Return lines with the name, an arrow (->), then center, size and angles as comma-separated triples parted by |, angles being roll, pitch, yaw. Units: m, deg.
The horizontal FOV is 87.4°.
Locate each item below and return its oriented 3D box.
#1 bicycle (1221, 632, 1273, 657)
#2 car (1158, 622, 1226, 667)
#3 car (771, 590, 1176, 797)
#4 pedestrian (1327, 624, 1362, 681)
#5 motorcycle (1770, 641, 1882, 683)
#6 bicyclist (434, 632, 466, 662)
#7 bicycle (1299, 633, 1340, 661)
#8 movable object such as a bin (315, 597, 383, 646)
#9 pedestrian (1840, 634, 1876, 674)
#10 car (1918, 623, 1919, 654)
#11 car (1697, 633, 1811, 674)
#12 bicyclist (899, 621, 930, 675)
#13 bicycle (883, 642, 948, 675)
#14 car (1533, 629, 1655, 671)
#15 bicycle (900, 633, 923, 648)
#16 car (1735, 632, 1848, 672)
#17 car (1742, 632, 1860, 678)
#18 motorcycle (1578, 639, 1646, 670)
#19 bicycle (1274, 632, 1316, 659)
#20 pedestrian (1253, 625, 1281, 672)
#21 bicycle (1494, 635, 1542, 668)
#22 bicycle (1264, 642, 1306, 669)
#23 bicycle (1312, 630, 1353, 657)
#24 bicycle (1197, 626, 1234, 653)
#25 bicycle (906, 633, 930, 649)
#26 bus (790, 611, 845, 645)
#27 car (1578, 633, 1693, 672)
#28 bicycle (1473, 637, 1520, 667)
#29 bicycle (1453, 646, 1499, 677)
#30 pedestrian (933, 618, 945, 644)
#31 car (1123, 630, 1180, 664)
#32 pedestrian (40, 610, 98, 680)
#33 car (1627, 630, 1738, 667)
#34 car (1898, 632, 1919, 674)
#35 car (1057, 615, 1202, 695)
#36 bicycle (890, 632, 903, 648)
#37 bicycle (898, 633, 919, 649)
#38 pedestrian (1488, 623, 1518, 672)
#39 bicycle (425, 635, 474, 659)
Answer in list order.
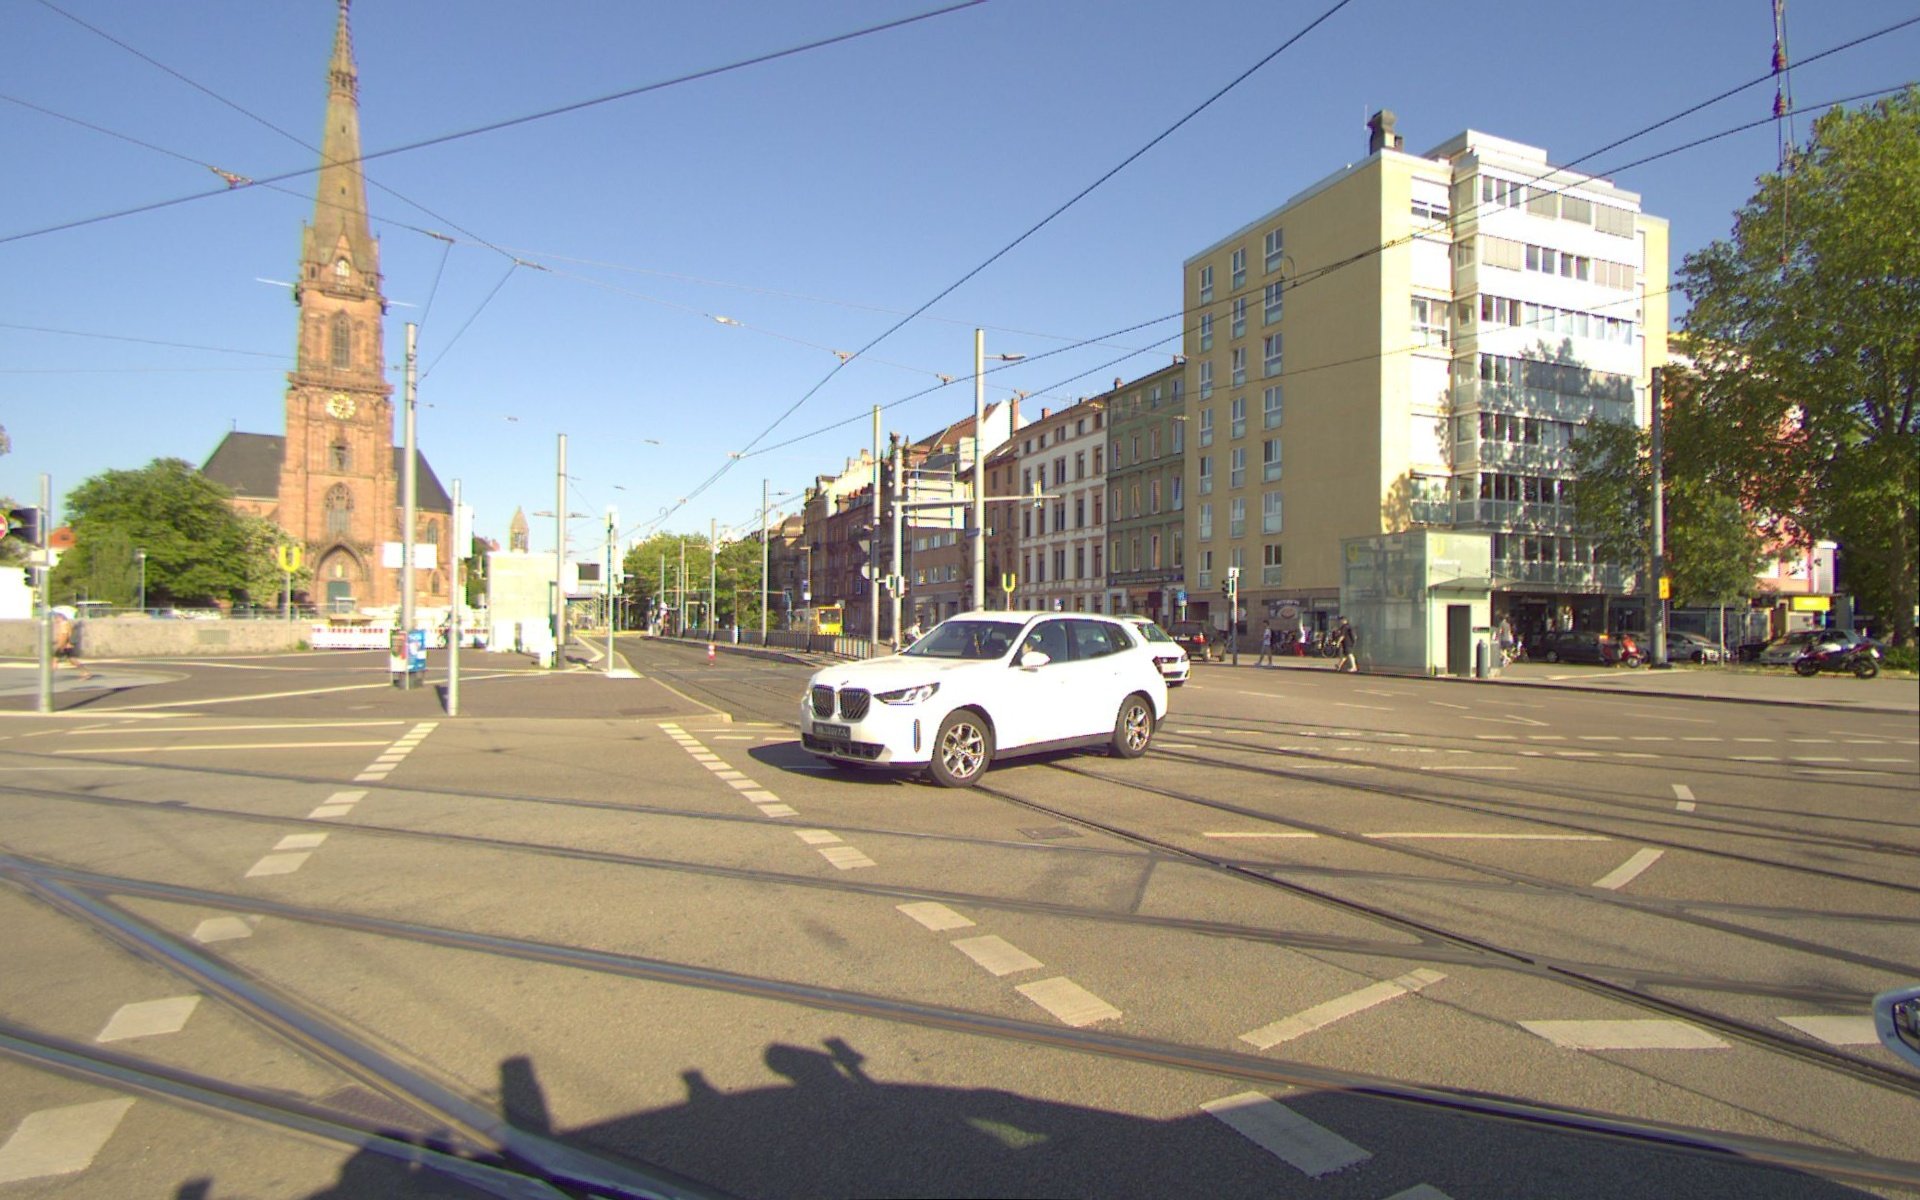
bicycle -> 15.007, 2.312, 52.649 | 0.974, 1.280, 3.045 | 1, -2, -23
car -> 10.246, 1.949, 44.128 | 1.924, 1.838, 4.247 | 1, -2, 27
car -> 0.367, 0.883, 10.987 | 1.914, 1.769, 4.599 | -2, -3, 41
pedestrian -> 12.077, 1.647, 31.554 | 0.856, 1.750, 0.792 | 0, -2, 36
motorcycle -> 24.725, 1.747, 28.705 | 1.031, 1.088, 2.258 | 0, -1, -37
bicyclist -> -24.163, 2.238, 47.605 | 0.799, 1.362, 0.902 | 3, -3, 20
bicycle -> 17.018, 2.207, 47.572 | 0.651, 1.265, 1.889 | 0, -1, -25
movable object such as a bin -> -35.204, 1.157, 57.795 | 2.613, 2.560, 5.110 | -1, 2, -40
pedestrian -> 41.400, 2.491, 46.320 | 0.890, 1.761, 0.883 | 0, 2, -19
car -> 57.122, 2.274, 56.734 | 1.829, 1.804, 3.980 | 0, 1, -21
car -> 38.627, 2.561, 48.979 | 1.829, 1.657, 3.980 | 0, 1, -21
bicyclist -> -1.404, 1.478, 31.036 | 0.667, 1.637, 0.810 | 0, -1, -27
bicycle -> -1.373, 1.790, 31.038 | 1.871, 0.954, 0.810 | 0, -1, -27
car -> 27.724, 2.136, 44.069 | 1.831, 1.503, 4.201 | 0, 1, -25
bicycle -> -3.817, 3.196, 79.267 | 1.745, 1.203, 0.467 | 2, -1, -23
car -> 41.566, 2.563, 50.301 | 1.829, 1.657, 3.980 | 0, 1, -21
car -> 33.334, 2.170, 39.815 | 3.942, 1.720, 1.912 | 0, -3, -22
motorcycle -> 22.665, 1.891, 34.964 | 0.869, 1.060, 1.794 | 0, -2, -24
bicycle -> 16.807, 2.268, 50.433 | 0.650, 1.265, 2.285 | 0, -1, -24
pedestrian -> 11.398, 1.791, 37.336 | 0.692, 1.750, 0.745 | 1, -2, -38
bicycle -> 23.561, 2.164, 42.410 | 1.973, 1.363, 0.810 | 0, -1, -28
bicycle -> 16.171, 2.747, 50.061 | 0.650, 1.265, 2.286 | 0, -1, -23
bicycle -> 17.736, 2.049, 47.887 | 0.651, 1.265, 1.889 | 0, -1, -25
bicycle -> 14.060, 2.166, 55.371 | 0.918, 1.375, 2.219 | 0, 1, -18
bicycle -> -3.269, 3.159, 77.924 | 1.745, 1.194, 0.467 | 2, -1, -23
bus -> -14.855, 2.871, 103.804 | 2.684, 3.223, 12.477 | 0, -1, -22
car -> 30.252, 2.300, 45.113 | 1.829, 1.439, 3.980 | 0, 1, -21
bicycle -> 23.103, 2.215, 43.274 | 1.973, 1.216, 0.810 | 0, -1, -28
bicycle -> 22.679, 2.695, 44.171 | 1.973, 1.265, 0.810 | 0, -1, -28
pedestrian -> -1.678, 2.511, 80.843 | 0.742, 2.041, 0.694 | 0, 2, -22
car -> 8.974, 2.216, 46.749 | 1.754, 1.417, 3.892 | 1, -3, 24
pedestrian -> -22.878, 1.138, 25.813 | 1.047, 1.709, 0.720 | -1, 2, -39
car -> 34.521, 2.282, 48.106 | 1.829, 1.439, 3.980 | 0, 1, -21
car -> 37.530, 2.012, 37.206 | 1.787, 1.530, 3.950 | -1, 0, -42
car -> 4.083, 1.274, 25.025 | 1.909, 1.757, 4.451 | -1, -1, -14
bicycle -> -5.029, 3.165, 79.295 | 0.463, 1.162, 1.761 | 2, -1, -22
bicycle -> -3.946, 3.134, 76.874 | 0.467, 1.162, 1.747 | 2, -1, -45
pedestrian -> 19.941, 1.735, 36.886 | 0.738, 1.750, 0.698 | 1, -1, -1
bicycle -> -24.166, 2.238, 47.601 | 0.799, 0.954, 2.003 | 3, -4, 20
